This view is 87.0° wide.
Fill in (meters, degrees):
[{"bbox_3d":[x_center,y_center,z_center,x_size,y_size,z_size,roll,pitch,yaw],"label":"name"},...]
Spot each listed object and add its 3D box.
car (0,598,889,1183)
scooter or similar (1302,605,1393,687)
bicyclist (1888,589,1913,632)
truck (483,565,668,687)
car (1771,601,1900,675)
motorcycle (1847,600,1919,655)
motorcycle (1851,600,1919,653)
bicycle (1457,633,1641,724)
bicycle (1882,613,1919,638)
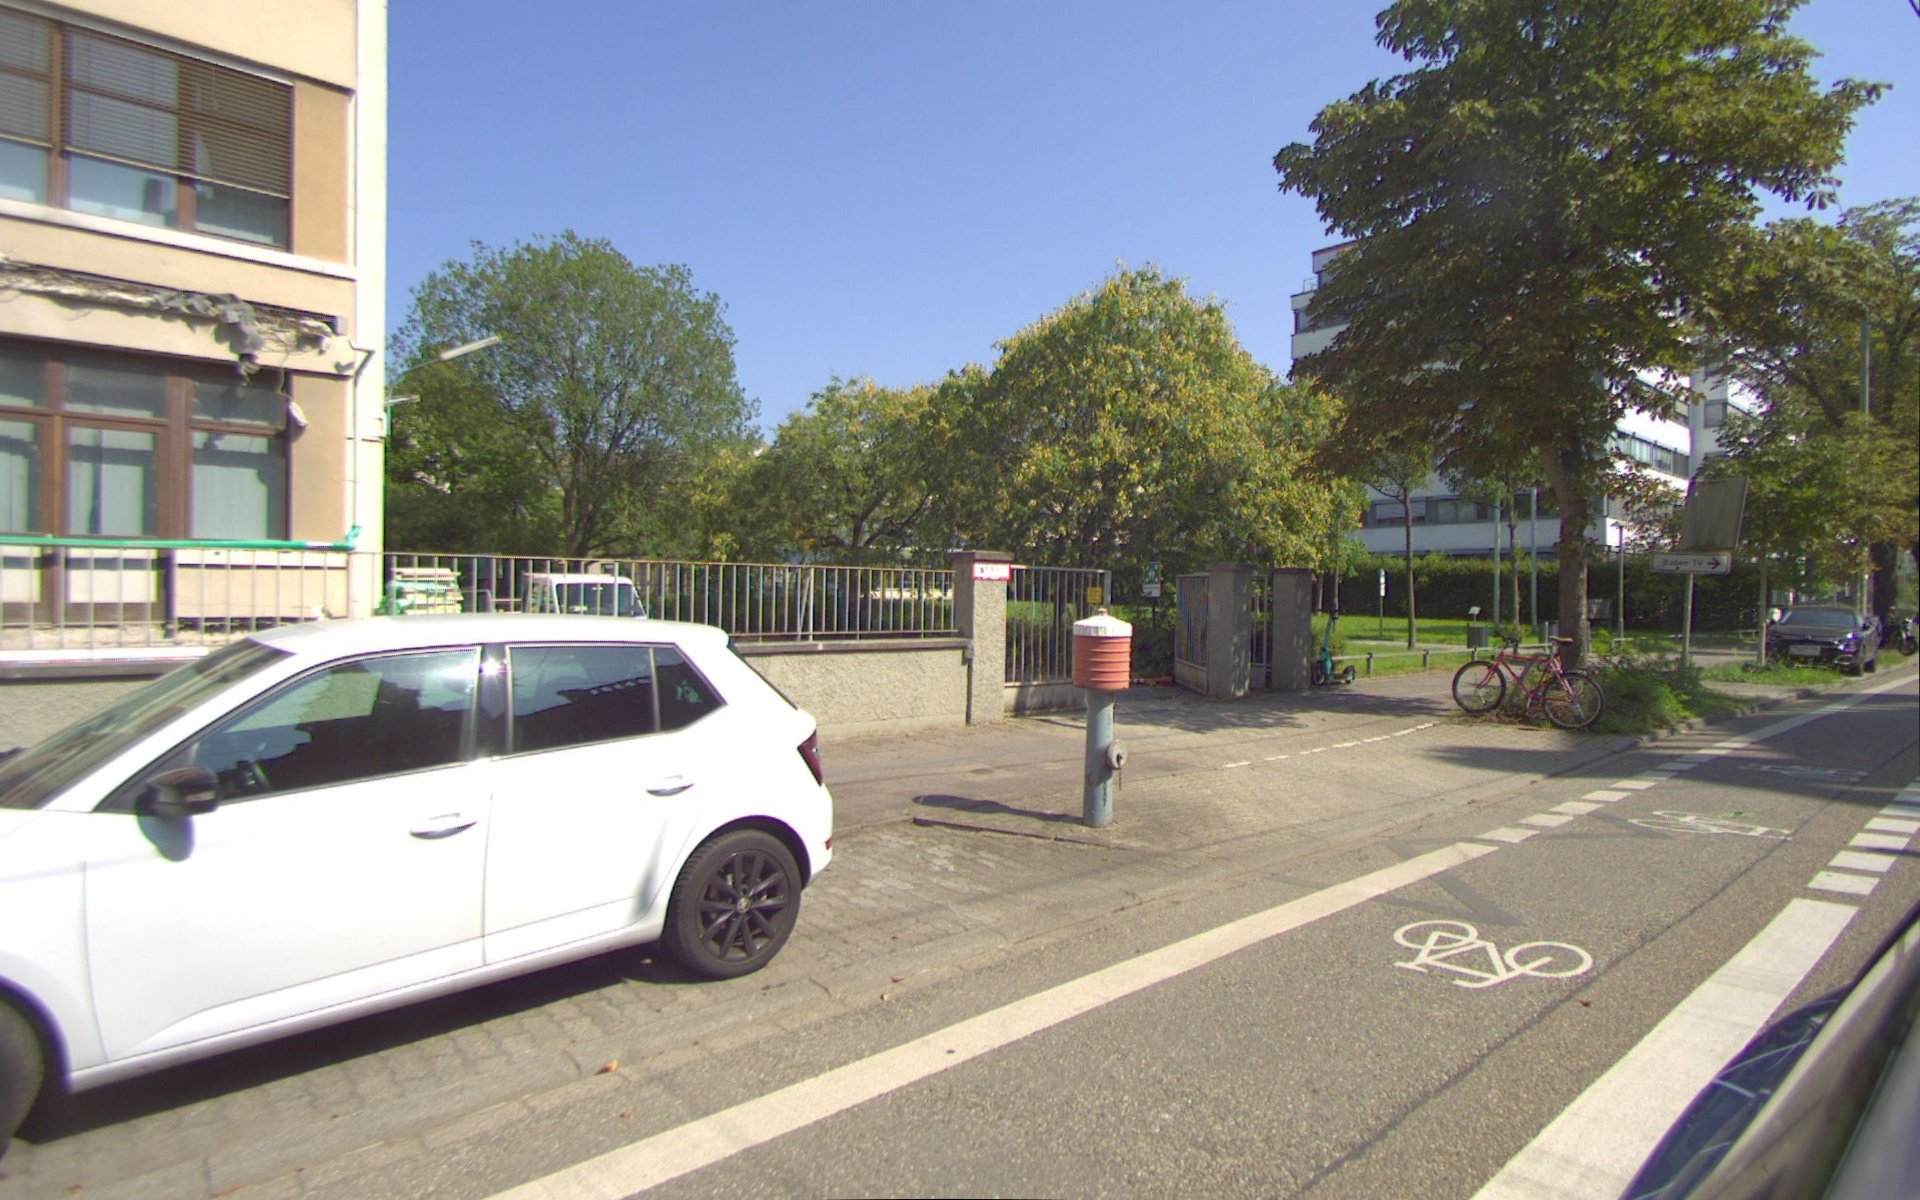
[{"bbox_3d":[-2.422,0.755,3.796,4.142,1.500,1.662,0,1,-41],"label":"car"},{"bbox_3d":[6.310,0.717,16.443,1.785,1.275,0.557,0,-1,-38],"label":"scooter or similar"},{"bbox_3d":[45.780,0.511,49.262,1.253,2.039,0.781,1,-1,-42],"label":"bicyclist"},{"bbox_3d":[-8.666,0.521,22.471,2.257,2.356,5.519,0,-1,-39],"label":"truck"},{"bbox_3d":[20.521,0.801,23.647,4.530,1.534,1.758,0,1,-42],"label":"car"},{"bbox_3d":[26.998,0.786,29.631,0.843,1.535,2.434,-1,-1,24],"label":"motorcycle"},{"bbox_3d":[28.426,0.787,30.526,0.836,1.535,2.456,0,-1,-2],"label":"motorcycle"},{"bbox_3d":[6.986,0.897,12.080,0.548,0.970,1.815,1,-1,-40],"label":"bicycle"},{"bbox_3d":[45.870,1.235,49.338,2.493,1.139,1.137,0,-1,-42],"label":"bicycle"}]
